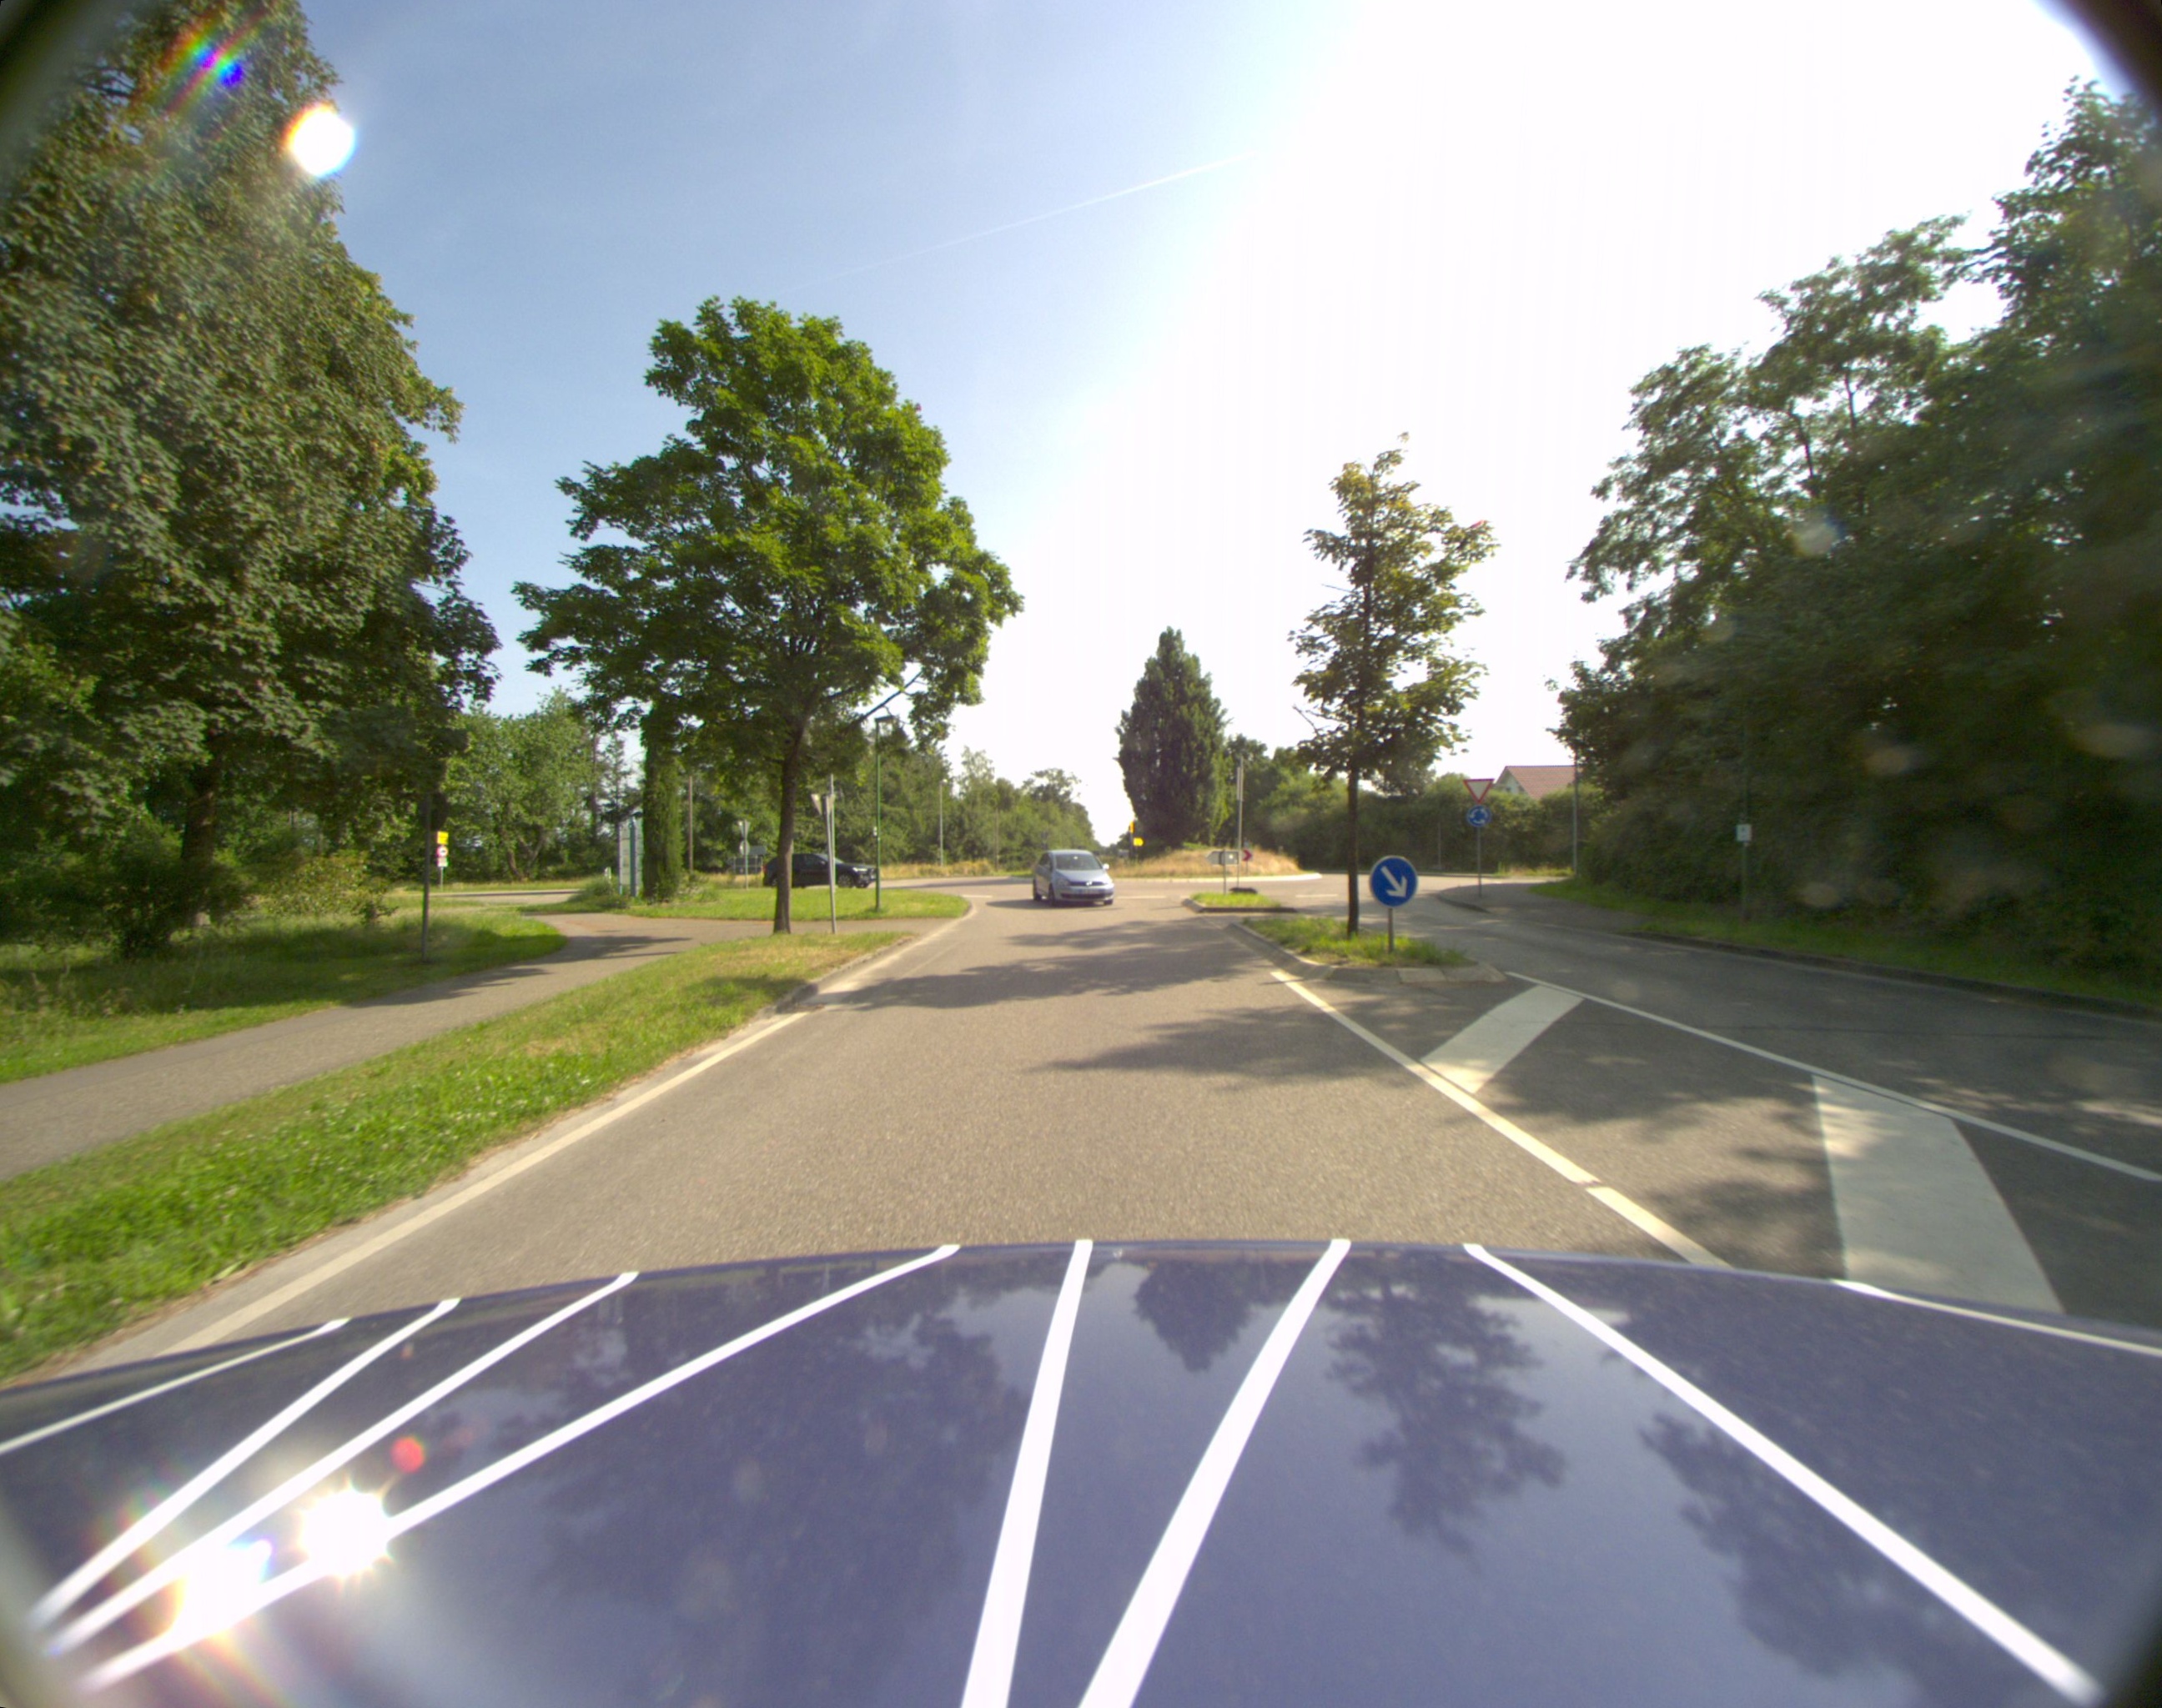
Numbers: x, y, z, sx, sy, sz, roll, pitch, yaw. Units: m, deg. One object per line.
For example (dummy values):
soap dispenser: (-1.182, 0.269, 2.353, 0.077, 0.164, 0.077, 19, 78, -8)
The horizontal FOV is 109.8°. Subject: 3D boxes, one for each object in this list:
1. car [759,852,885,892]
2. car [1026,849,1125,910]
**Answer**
car: (-10.912, 0.745, 32.252, 4.616, 1.592, 1.953, -1, 1, 2)
car: (-0.271, 0.671, 22.493, 1.811, 1.592, 4.263, -1, 0, -16)
